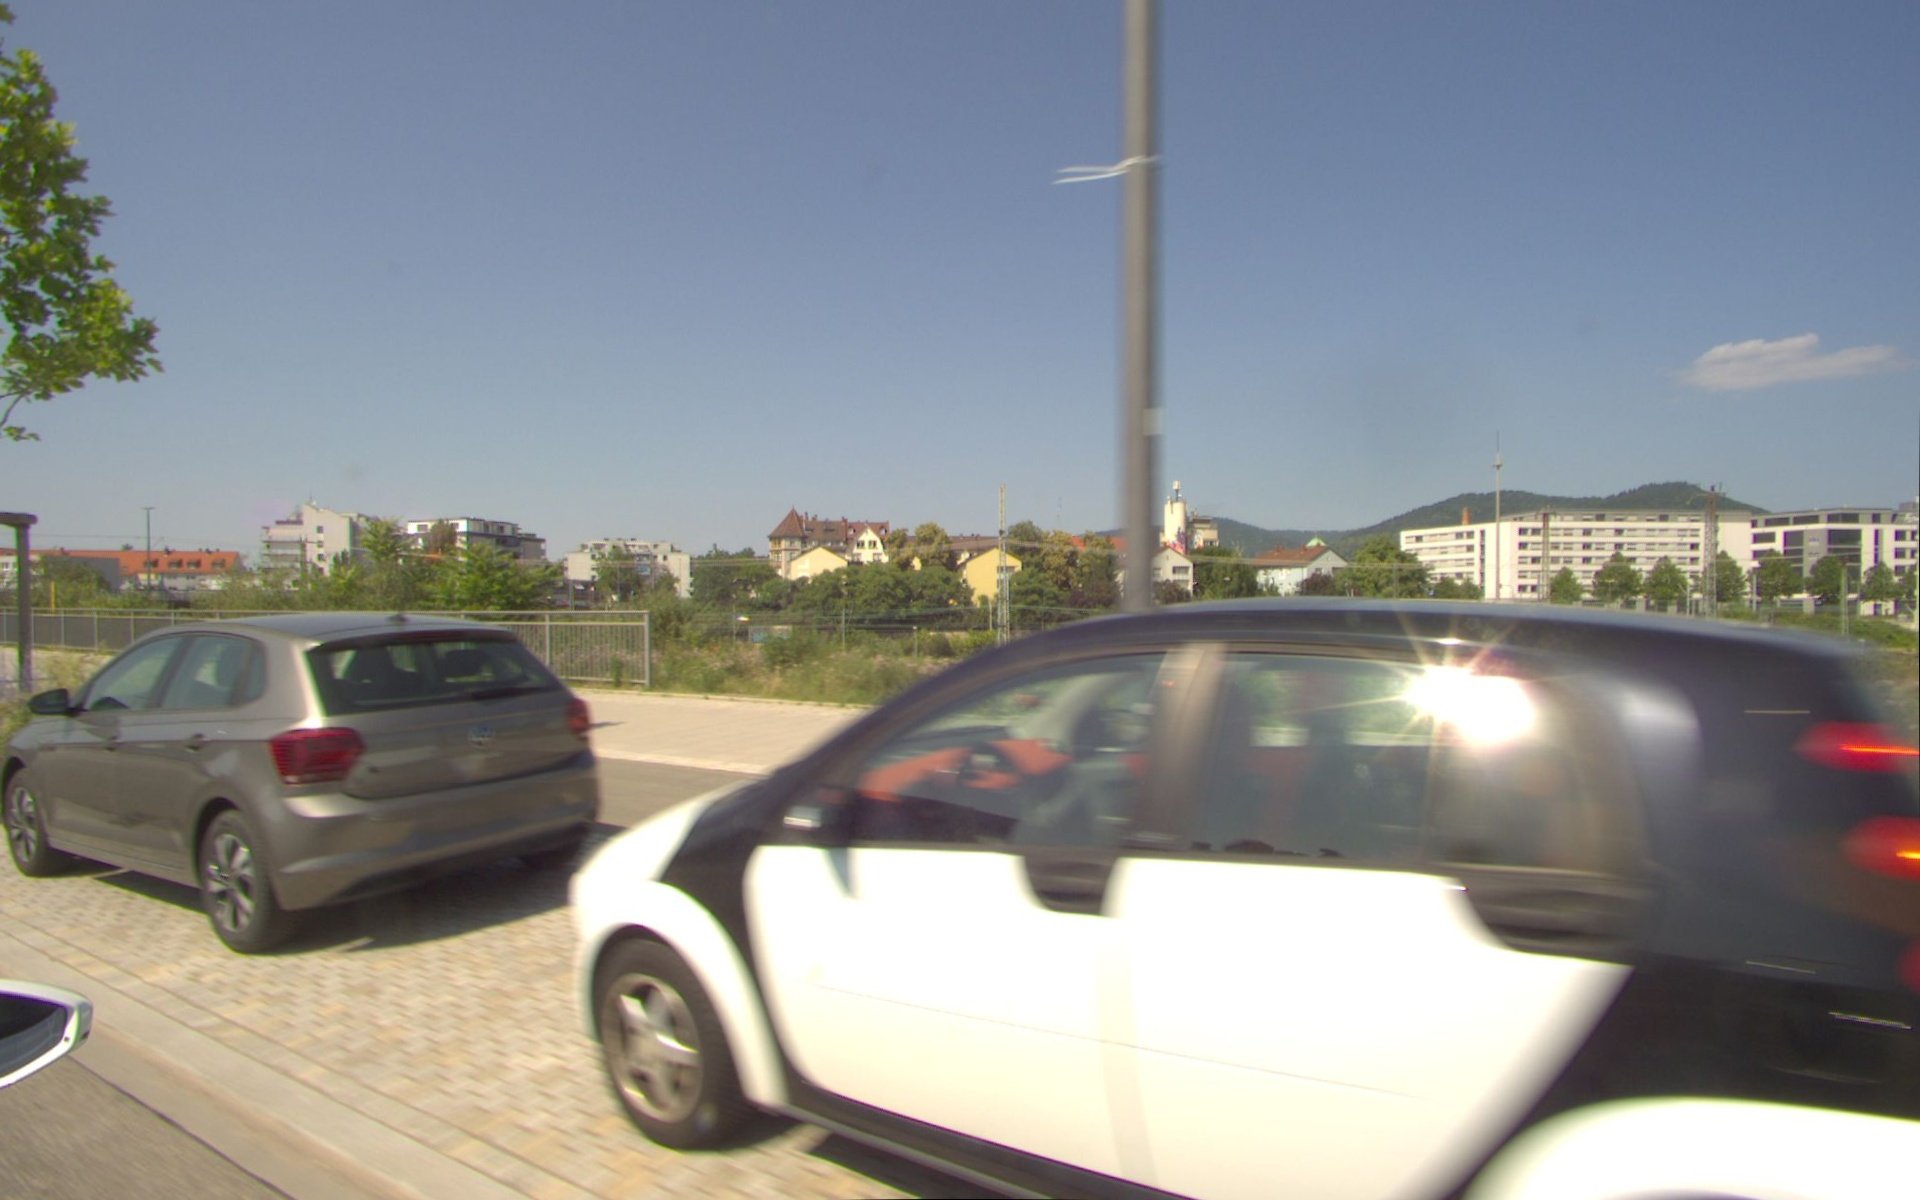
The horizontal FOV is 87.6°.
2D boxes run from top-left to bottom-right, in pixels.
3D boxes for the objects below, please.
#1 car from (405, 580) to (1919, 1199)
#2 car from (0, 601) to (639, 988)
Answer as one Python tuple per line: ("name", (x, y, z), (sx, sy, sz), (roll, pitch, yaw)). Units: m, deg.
("car", (0.294, 0.709, 2.906), (4.028, 1.482, 1.699), (0, 1, 34))
("car", (-3.830, 0.761, 5.616), (3.895, 1.482, 1.701), (0, 1, 31))
